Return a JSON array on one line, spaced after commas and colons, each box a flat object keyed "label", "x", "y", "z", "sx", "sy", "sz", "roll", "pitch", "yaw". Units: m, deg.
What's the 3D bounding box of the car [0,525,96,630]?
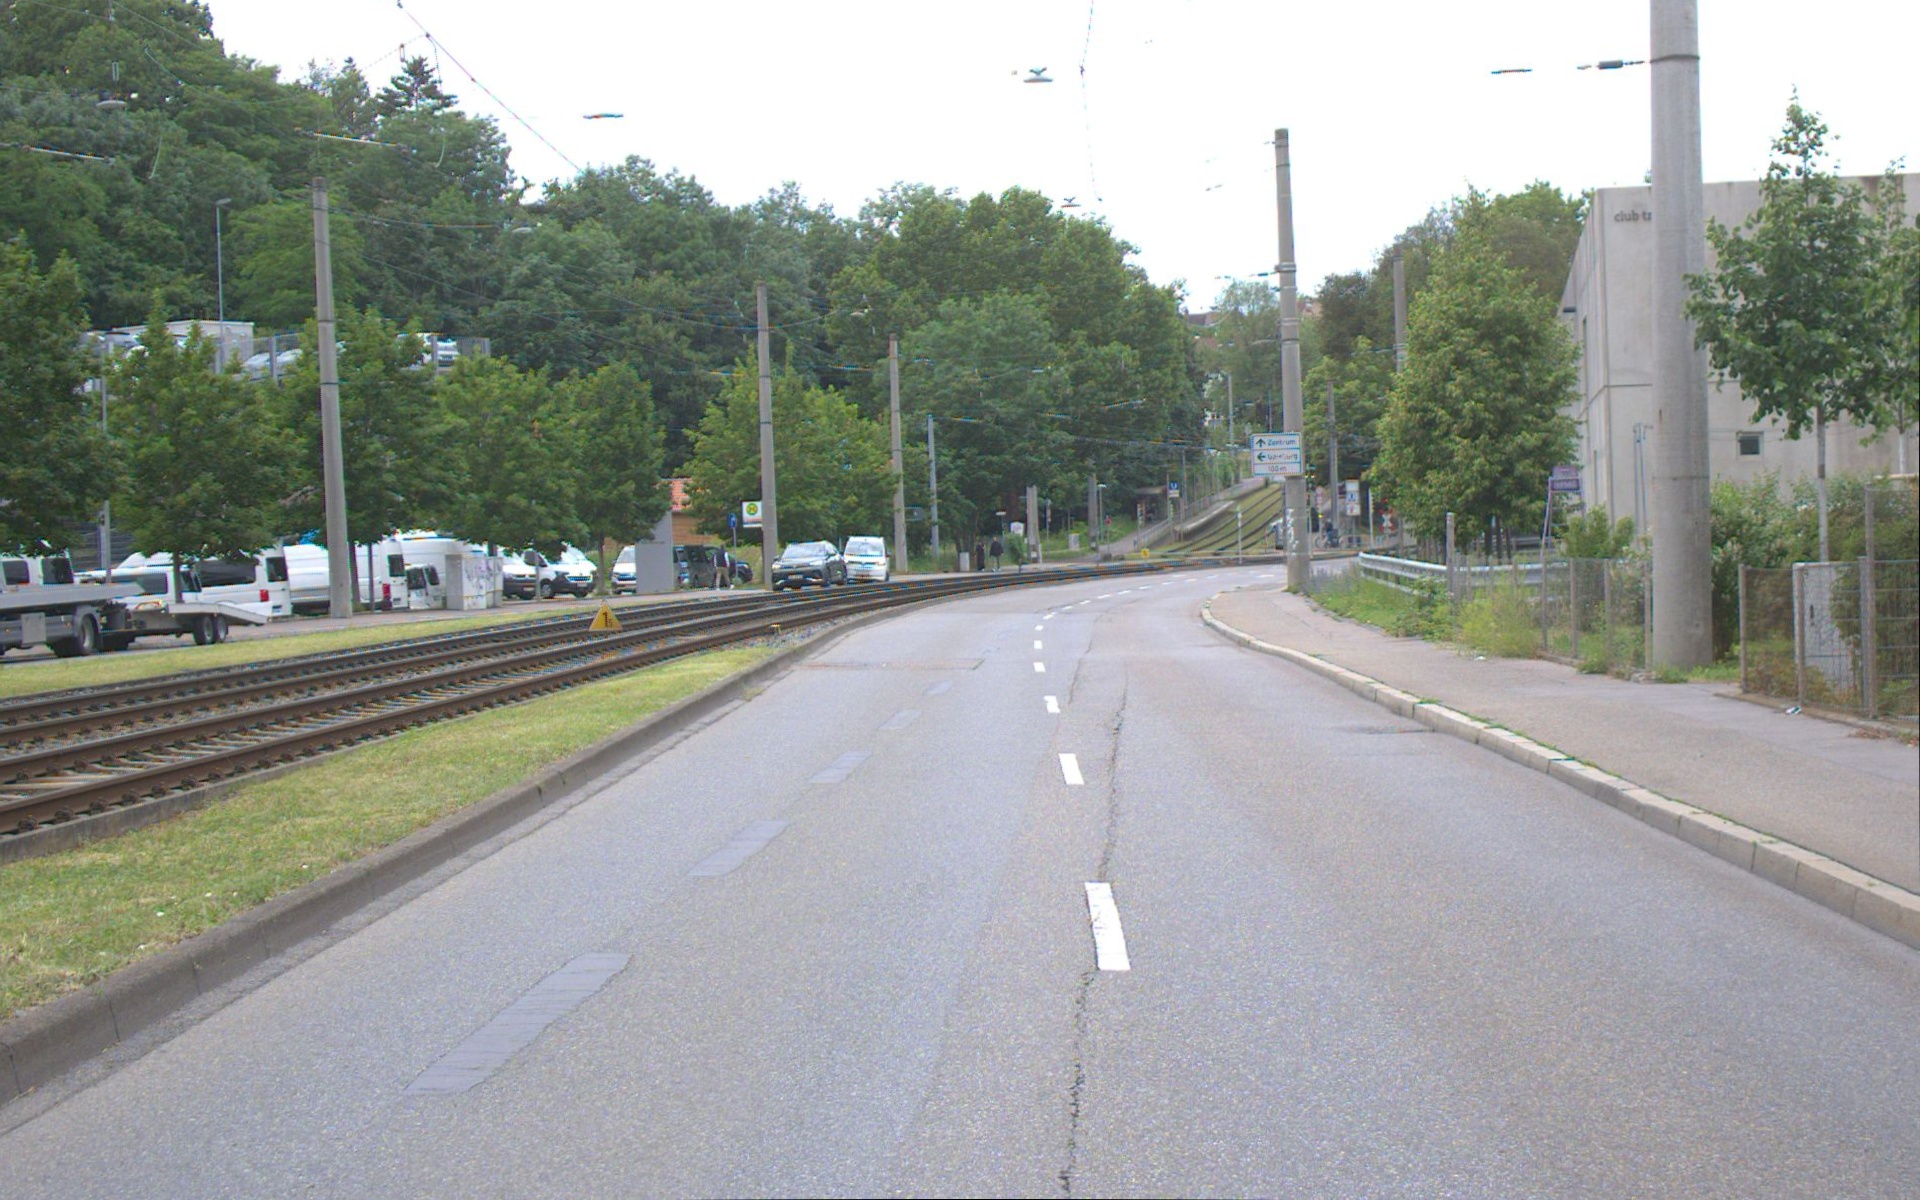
[{"label": "car", "x": -22.143, "y": -0.480, "z": 77.775, "sx": 4.498, "sy": 2.303, "sz": 2.124, "roll": -1, "pitch": 1, "yaw": 12}]

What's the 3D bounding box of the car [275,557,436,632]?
[{"label": "car", "x": -18.338, "y": -0.180, "z": 104.350, "sx": 4.367, "sy": 2.098, "sz": 2.004, "roll": -2, "pitch": 1, "yaw": 7}]

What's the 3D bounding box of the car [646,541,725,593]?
[{"label": "car", "x": -11.253, "y": -1.377, "z": 141.343, "sx": 1.994, "sy": 2.007, "sz": 5.128, "roll": -2, "pitch": 1, "yaw": 9}]

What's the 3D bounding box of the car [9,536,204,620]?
[{"label": "car", "x": -21.783, "y": -0.567, "z": 87.815, "sx": 4.367, "sy": 2.003, "sz": 2.004, "roll": -2, "pitch": 1, "yaw": 7}]

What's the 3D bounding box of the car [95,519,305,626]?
[{"label": "car", "x": -20.250, "y": -0.739, "z": 91.746, "sx": 4.967, "sy": 2.689, "sz": 2.115, "roll": -2, "pitch": 1, "yaw": 7}]

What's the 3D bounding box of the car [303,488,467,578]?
[{"label": "car", "x": -17.830, "y": -2.094, "z": 106.688, "sx": 4.368, "sy": 2.098, "sz": 2.004, "roll": 9, "pitch": 2, "yaw": 7}]

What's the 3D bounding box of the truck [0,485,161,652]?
[{"label": "truck", "x": -16.756, "y": -0.490, "z": 58.757, "sx": 2.757, "sy": 2.732, "sz": 9.216, "roll": -4, "pitch": 1, "yaw": 8}]

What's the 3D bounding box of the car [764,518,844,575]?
[{"label": "car", "x": -5.137, "y": -1.742, "z": 113.518, "sx": 1.994, "sy": 1.733, "sz": 4.533, "roll": -4, "pitch": 0, "yaw": 5}]

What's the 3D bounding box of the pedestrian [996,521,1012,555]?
[{"label": "pedestrian", "x": 2.207, "y": -3.112, "z": 173.403, "sx": 0.628, "sy": 1.707, "sz": 0.855, "roll": 0, "pitch": 2, "yaw": 14}]

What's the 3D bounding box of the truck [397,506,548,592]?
[{"label": "truck", "x": -18.425, "y": -1.910, "z": 129.789, "sx": 5.933, "sy": 3.074, "sz": 2.115, "roll": -1, "pitch": 1, "yaw": 40}]

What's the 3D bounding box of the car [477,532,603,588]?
[{"label": "car", "x": -16.129, "y": -1.521, "z": 131.919, "sx": 4.725, "sy": 2.007, "sz": 1.996, "roll": -1, "pitch": 1, "yaw": 38}]

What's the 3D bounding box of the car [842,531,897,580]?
[{"label": "car", "x": -3.765, "y": -1.881, "z": 144.076, "sx": 2.159, "sy": 1.881, "sz": 5.073, "roll": 0, "pitch": 2, "yaw": 0}]

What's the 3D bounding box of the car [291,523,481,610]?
[{"label": "car", "x": -18.332, "y": -1.078, "z": 109.845, "sx": 5.475, "sy": 2.593, "sz": 2.246, "roll": -1, "pitch": 1, "yaw": 11}]

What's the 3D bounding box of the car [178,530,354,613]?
[{"label": "car", "x": -19.525, "y": -0.808, "z": 96.821, "sx": 4.367, "sy": 2.165, "sz": 2.004, "roll": -2, "pitch": 1, "yaw": 7}]

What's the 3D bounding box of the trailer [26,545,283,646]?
[{"label": "trailer", "x": -15.526, "y": -0.136, "z": 66.774, "sx": 2.383, "sy": 1.692, "sz": 6.946, "roll": -4, "pitch": 1, "yaw": 8}]

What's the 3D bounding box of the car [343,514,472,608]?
[{"label": "car", "x": -18.479, "y": -1.345, "z": 115.360, "sx": 2.109, "sy": 3.009, "sz": 5.934, "roll": -2, "pitch": 1, "yaw": 13}]

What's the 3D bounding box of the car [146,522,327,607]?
[{"label": "car", "x": -19.819, "y": -0.987, "z": 94.239, "sx": 4.367, "sy": 2.165, "sz": 2.004, "roll": -2, "pitch": 1, "yaw": 7}]

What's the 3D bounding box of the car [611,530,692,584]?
[{"label": "car", "x": -12.115, "y": -1.710, "z": 135.454, "sx": 1.994, "sy": 2.007, "sz": 4.917, "roll": -2, "pitch": 1, "yaw": 9}]

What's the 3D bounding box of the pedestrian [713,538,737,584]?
[{"label": "pedestrian", "x": -8.500, "y": -1.414, "z": 124.294, "sx": 0.718, "sy": 1.650, "sz": 1.042, "roll": 1, "pitch": 2, "yaw": 4}]

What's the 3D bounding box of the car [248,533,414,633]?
[{"label": "car", "x": -18.626, "y": -0.513, "z": 101.939, "sx": 4.367, "sy": 2.809, "sz": 2.004, "roll": -2, "pitch": 1, "yaw": 7}]

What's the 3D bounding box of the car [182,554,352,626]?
[{"label": "car", "x": -20.068, "y": -0.288, "z": 99.702, "sx": 4.367, "sy": 1.904, "sz": 2.004, "roll": -2, "pitch": 2, "yaw": 7}]
